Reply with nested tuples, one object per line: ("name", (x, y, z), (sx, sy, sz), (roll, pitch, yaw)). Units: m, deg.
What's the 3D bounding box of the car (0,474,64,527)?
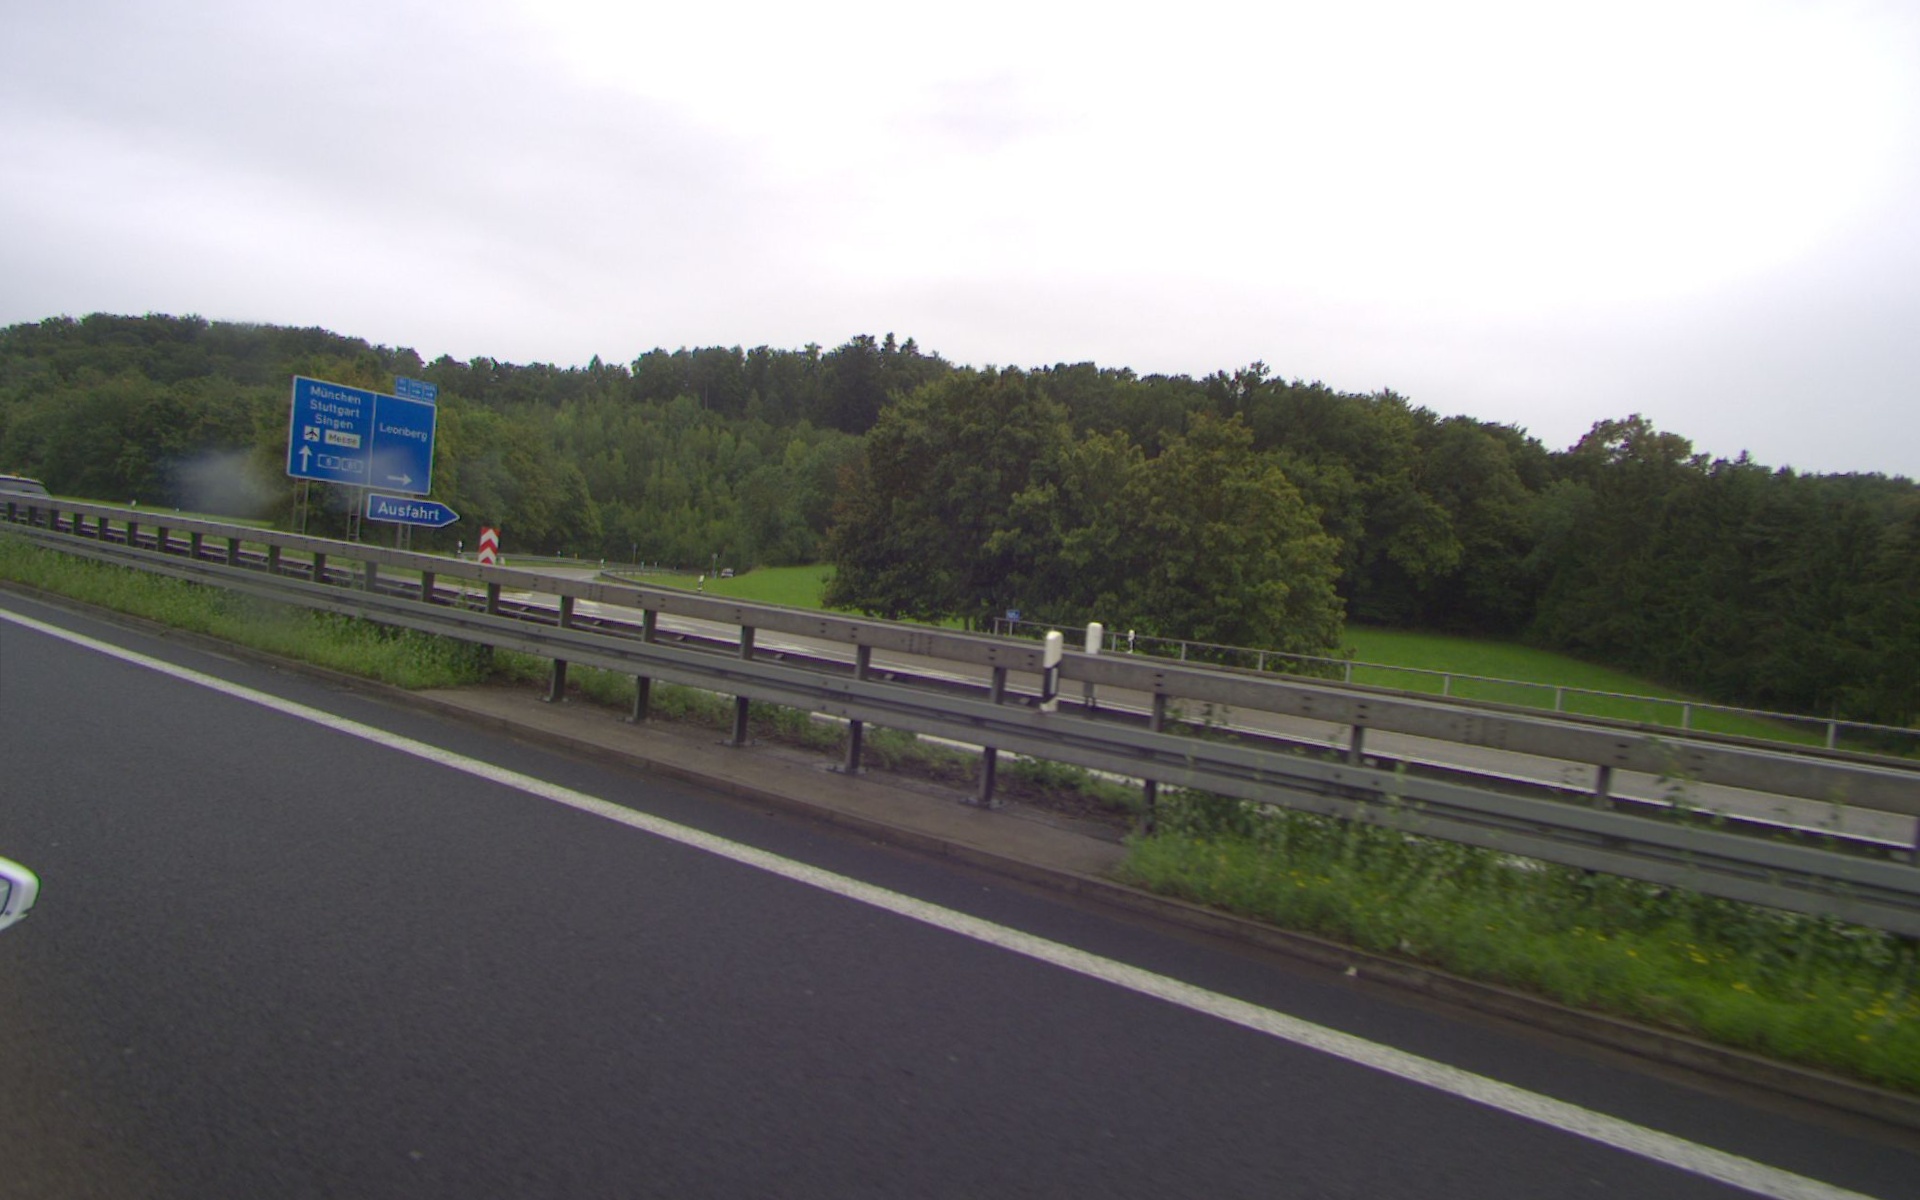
("car", (-29.746, -3.176, 31.457), (4.061, 1.400, 1.666), (6, 1, 35))
